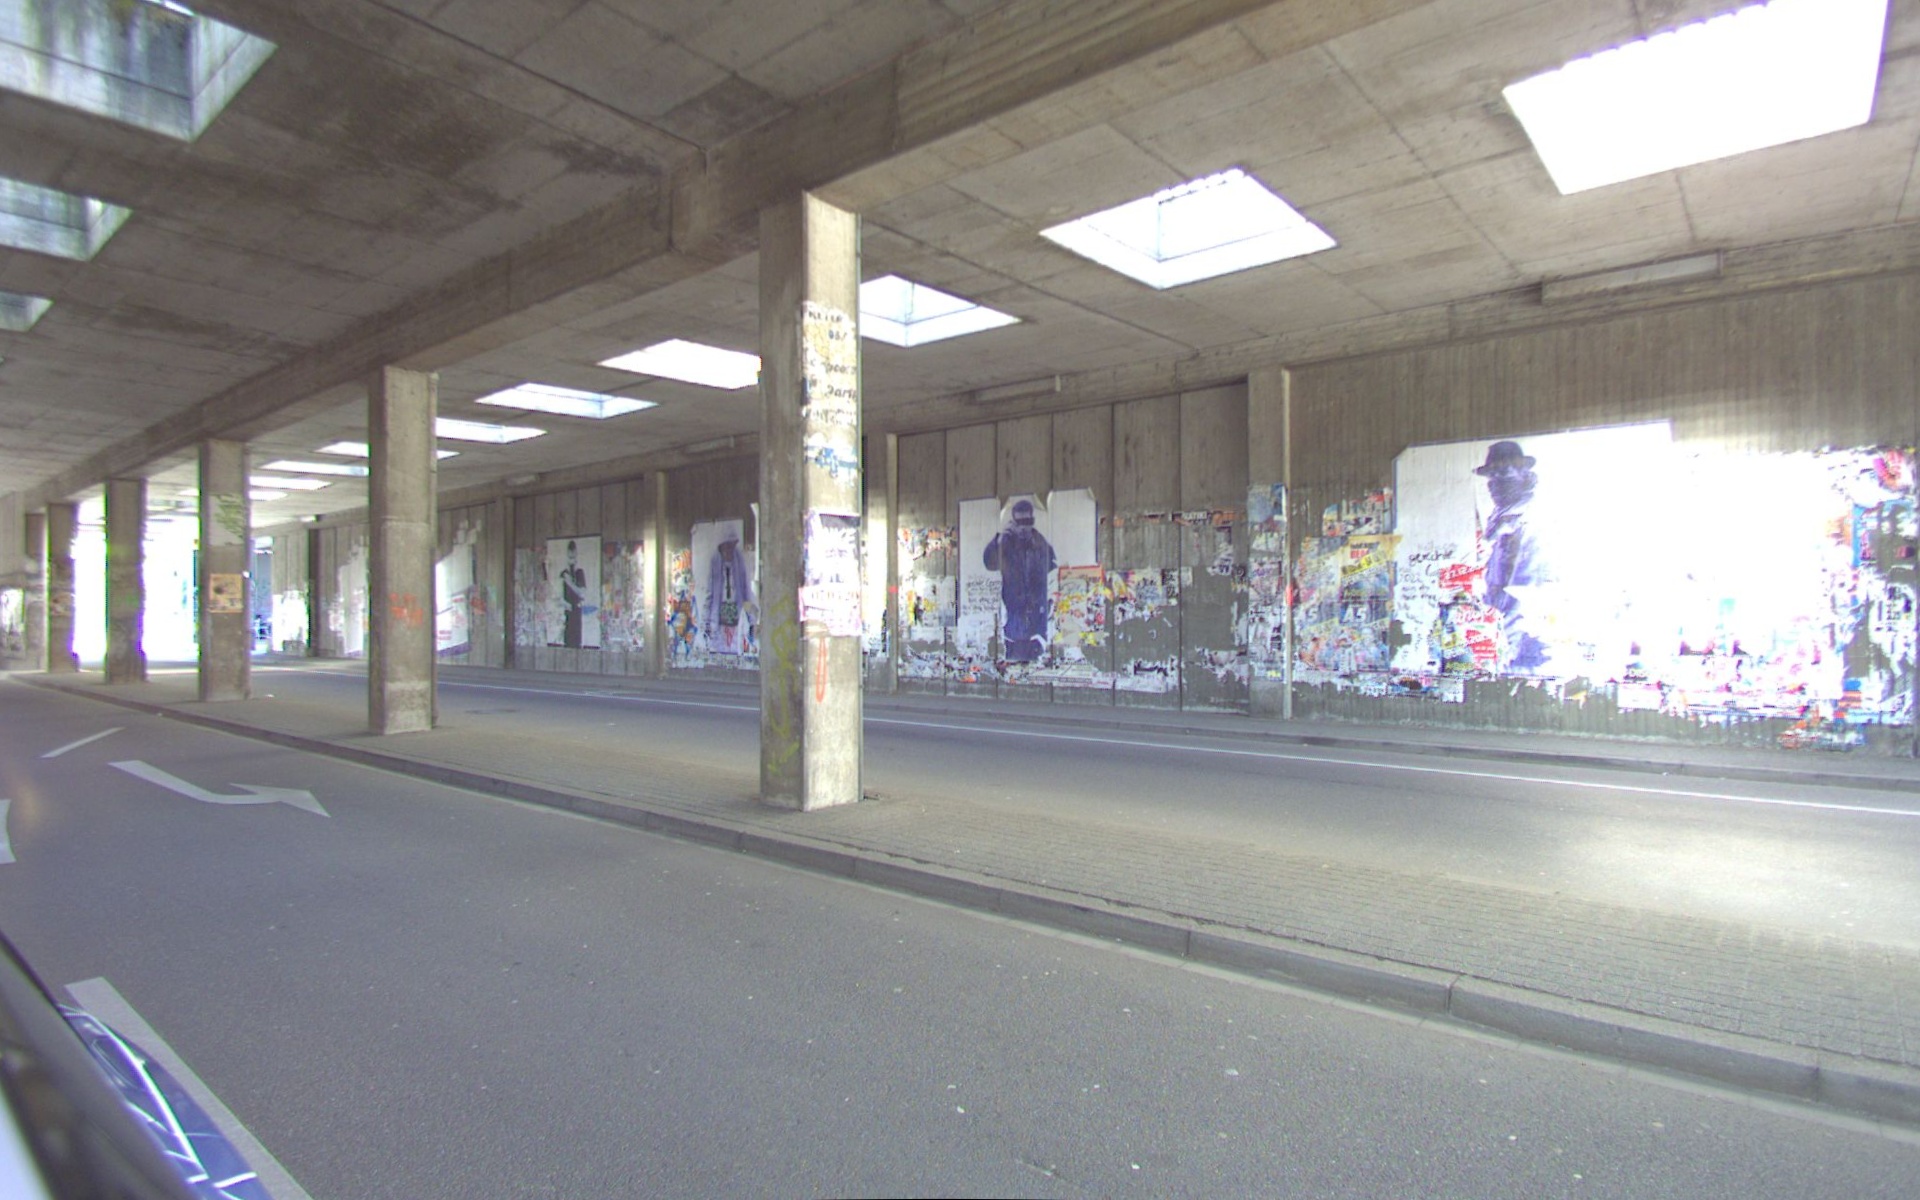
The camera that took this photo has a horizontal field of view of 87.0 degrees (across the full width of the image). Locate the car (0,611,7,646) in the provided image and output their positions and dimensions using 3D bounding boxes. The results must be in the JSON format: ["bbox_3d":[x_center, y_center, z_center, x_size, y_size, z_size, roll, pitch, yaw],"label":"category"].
[{"bbox_3d":[-52.977,1.492,52.571,1.996,1.848,4.757,-1,-2,36],"label":"car"}]
